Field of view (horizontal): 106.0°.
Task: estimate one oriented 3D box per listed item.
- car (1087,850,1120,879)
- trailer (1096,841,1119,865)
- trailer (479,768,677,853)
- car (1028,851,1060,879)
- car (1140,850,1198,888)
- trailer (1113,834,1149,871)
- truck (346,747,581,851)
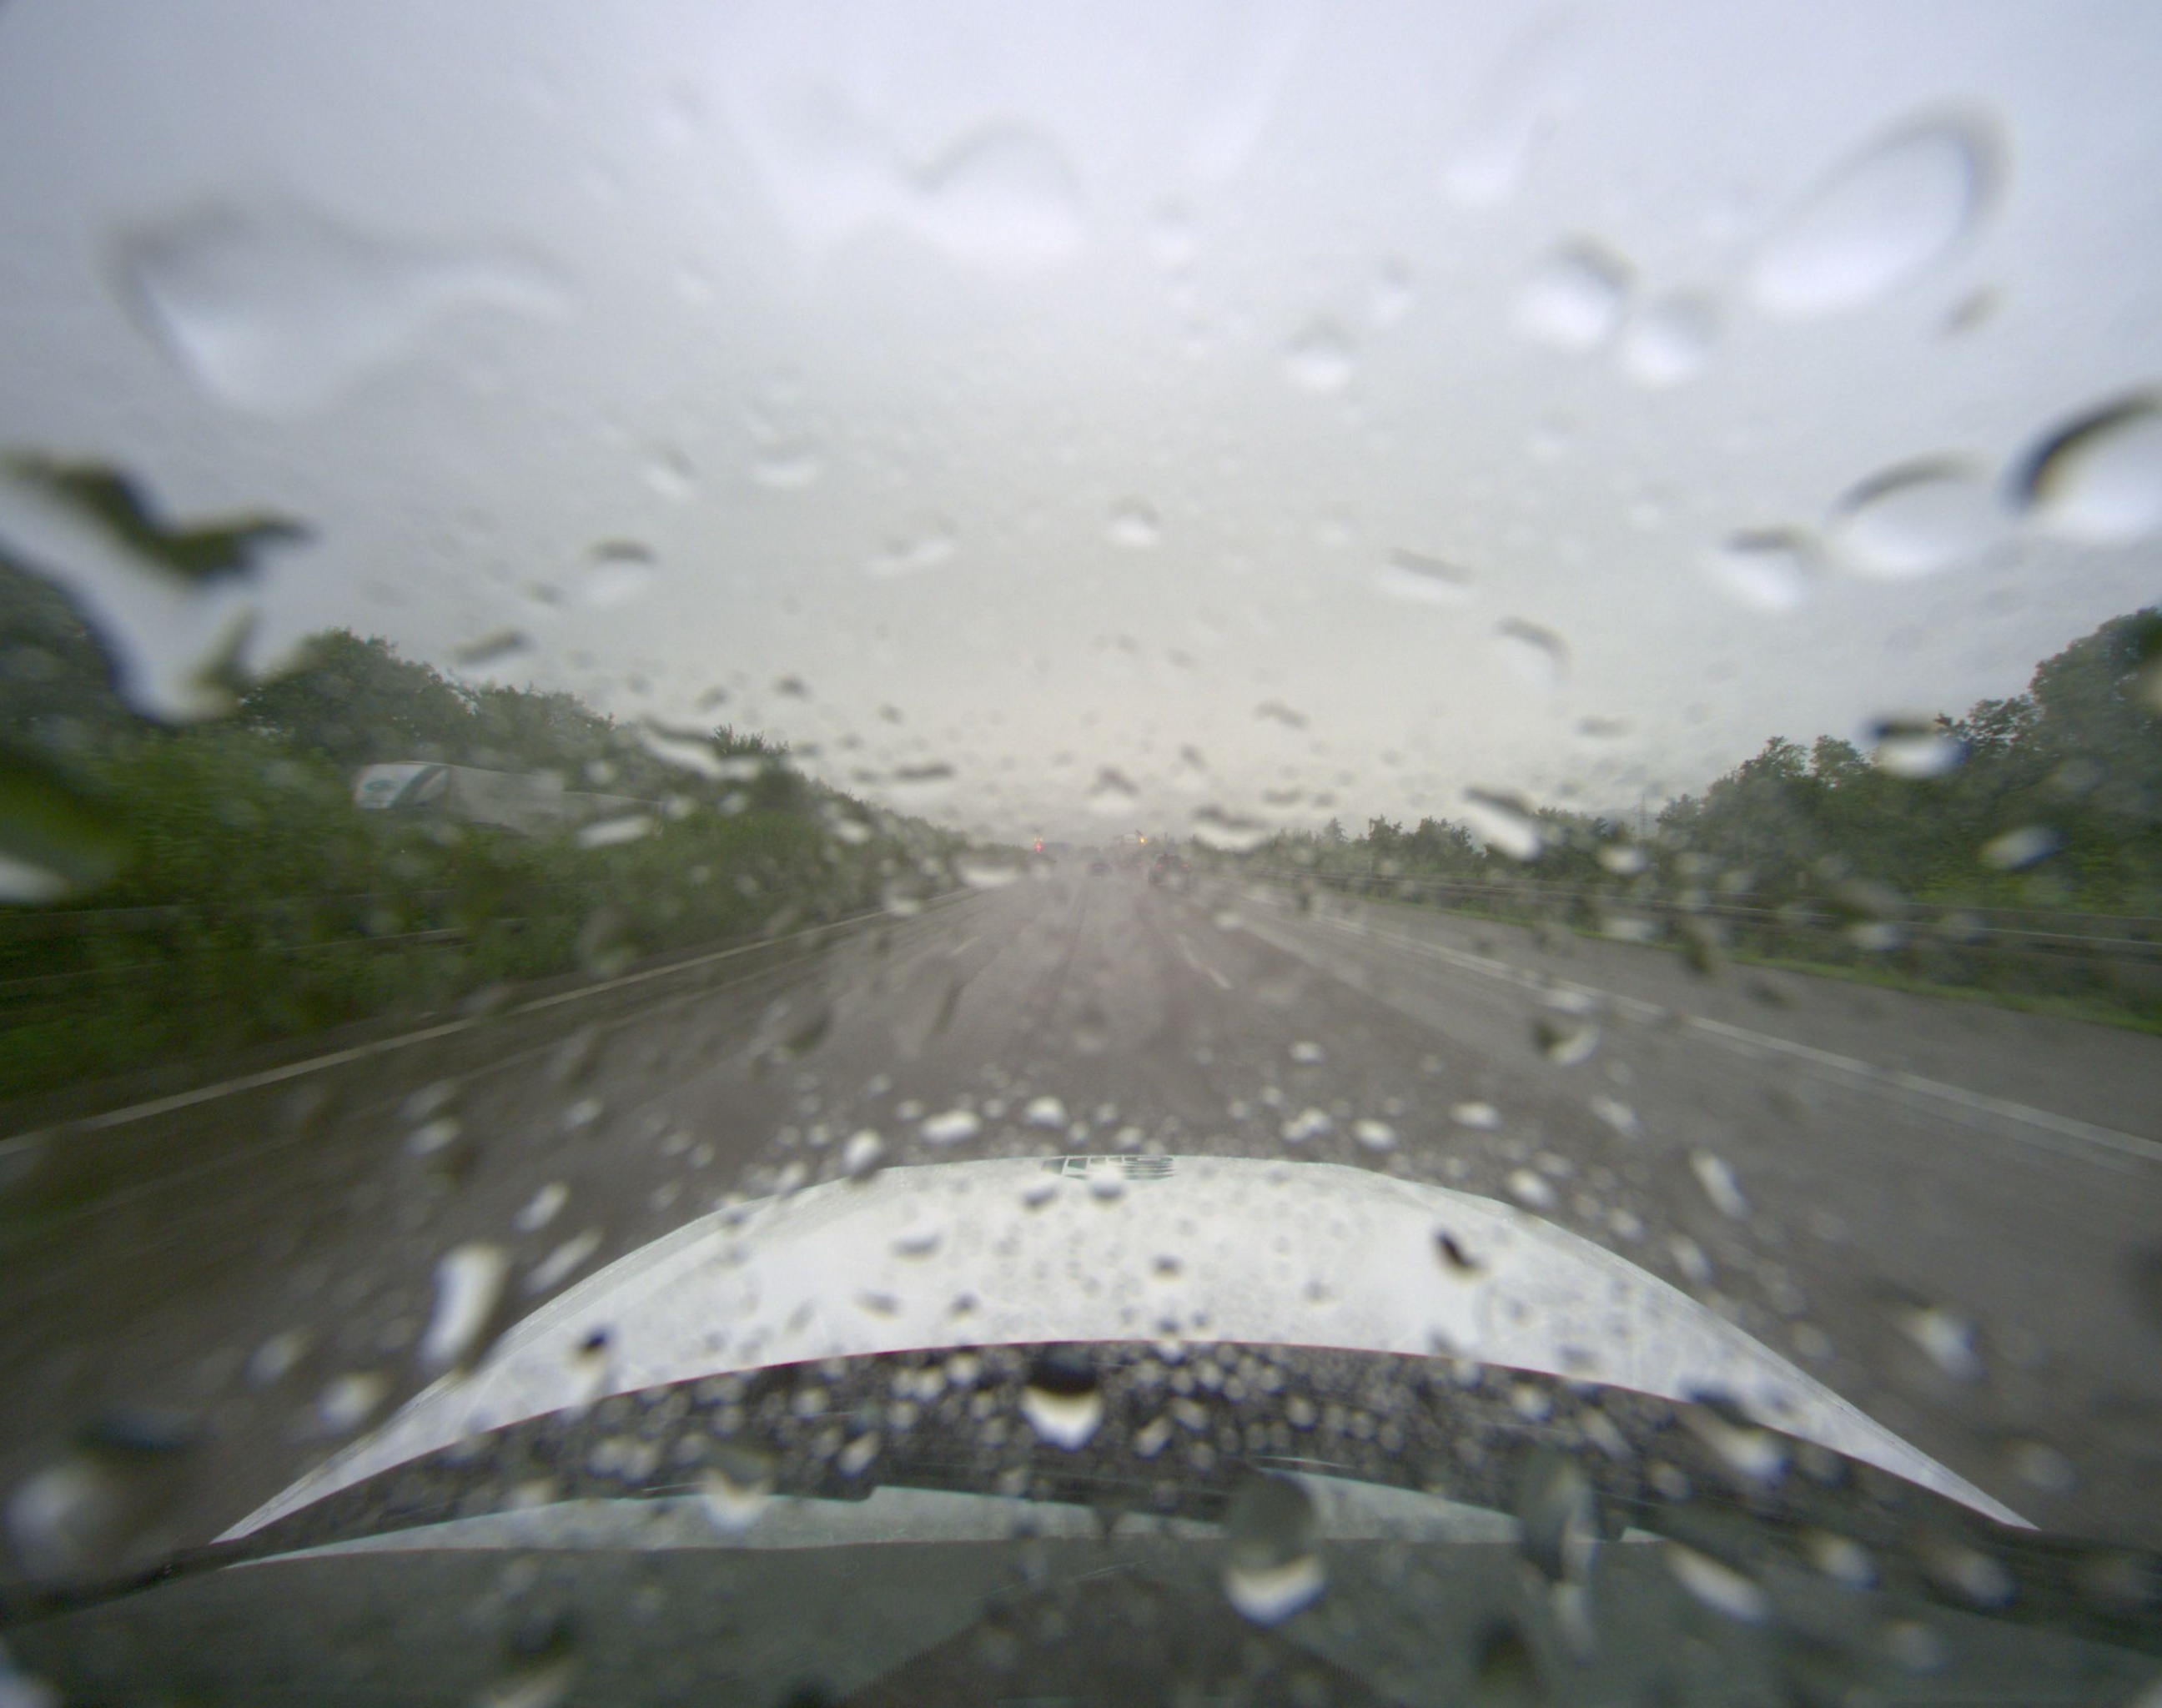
[{"bbox_3d":[1.416,0.669,53.069,1.972,1.756,4.480,-1,0,0],"label":"car"},{"bbox_3d":[4.271,-0.239,132.620,2.997,3.847,8.616,0,1,-3],"label":"trailer"},{"bbox_3d":[-16.231,-1.268,26.932,2.263,2.428,6.649,-1,0,1],"label":"trailer"},{"bbox_3d":[-2.435,0.718,54.720,1.919,1.741,4.403,-1,0,0],"label":"car"},{"bbox_3d":[4.309,0.716,40.938,2.448,1.746,5.720,-1,0,1],"label":"car"},{"bbox_3d":[5.211,-0.183,87.666,3.178,3.670,11.665,-1,0,0],"label":"trailer"},{"bbox_3d":[-16.321,-1.315,22.025,2.232,2.422,5.344,0,0,1],"label":"truck"}]
